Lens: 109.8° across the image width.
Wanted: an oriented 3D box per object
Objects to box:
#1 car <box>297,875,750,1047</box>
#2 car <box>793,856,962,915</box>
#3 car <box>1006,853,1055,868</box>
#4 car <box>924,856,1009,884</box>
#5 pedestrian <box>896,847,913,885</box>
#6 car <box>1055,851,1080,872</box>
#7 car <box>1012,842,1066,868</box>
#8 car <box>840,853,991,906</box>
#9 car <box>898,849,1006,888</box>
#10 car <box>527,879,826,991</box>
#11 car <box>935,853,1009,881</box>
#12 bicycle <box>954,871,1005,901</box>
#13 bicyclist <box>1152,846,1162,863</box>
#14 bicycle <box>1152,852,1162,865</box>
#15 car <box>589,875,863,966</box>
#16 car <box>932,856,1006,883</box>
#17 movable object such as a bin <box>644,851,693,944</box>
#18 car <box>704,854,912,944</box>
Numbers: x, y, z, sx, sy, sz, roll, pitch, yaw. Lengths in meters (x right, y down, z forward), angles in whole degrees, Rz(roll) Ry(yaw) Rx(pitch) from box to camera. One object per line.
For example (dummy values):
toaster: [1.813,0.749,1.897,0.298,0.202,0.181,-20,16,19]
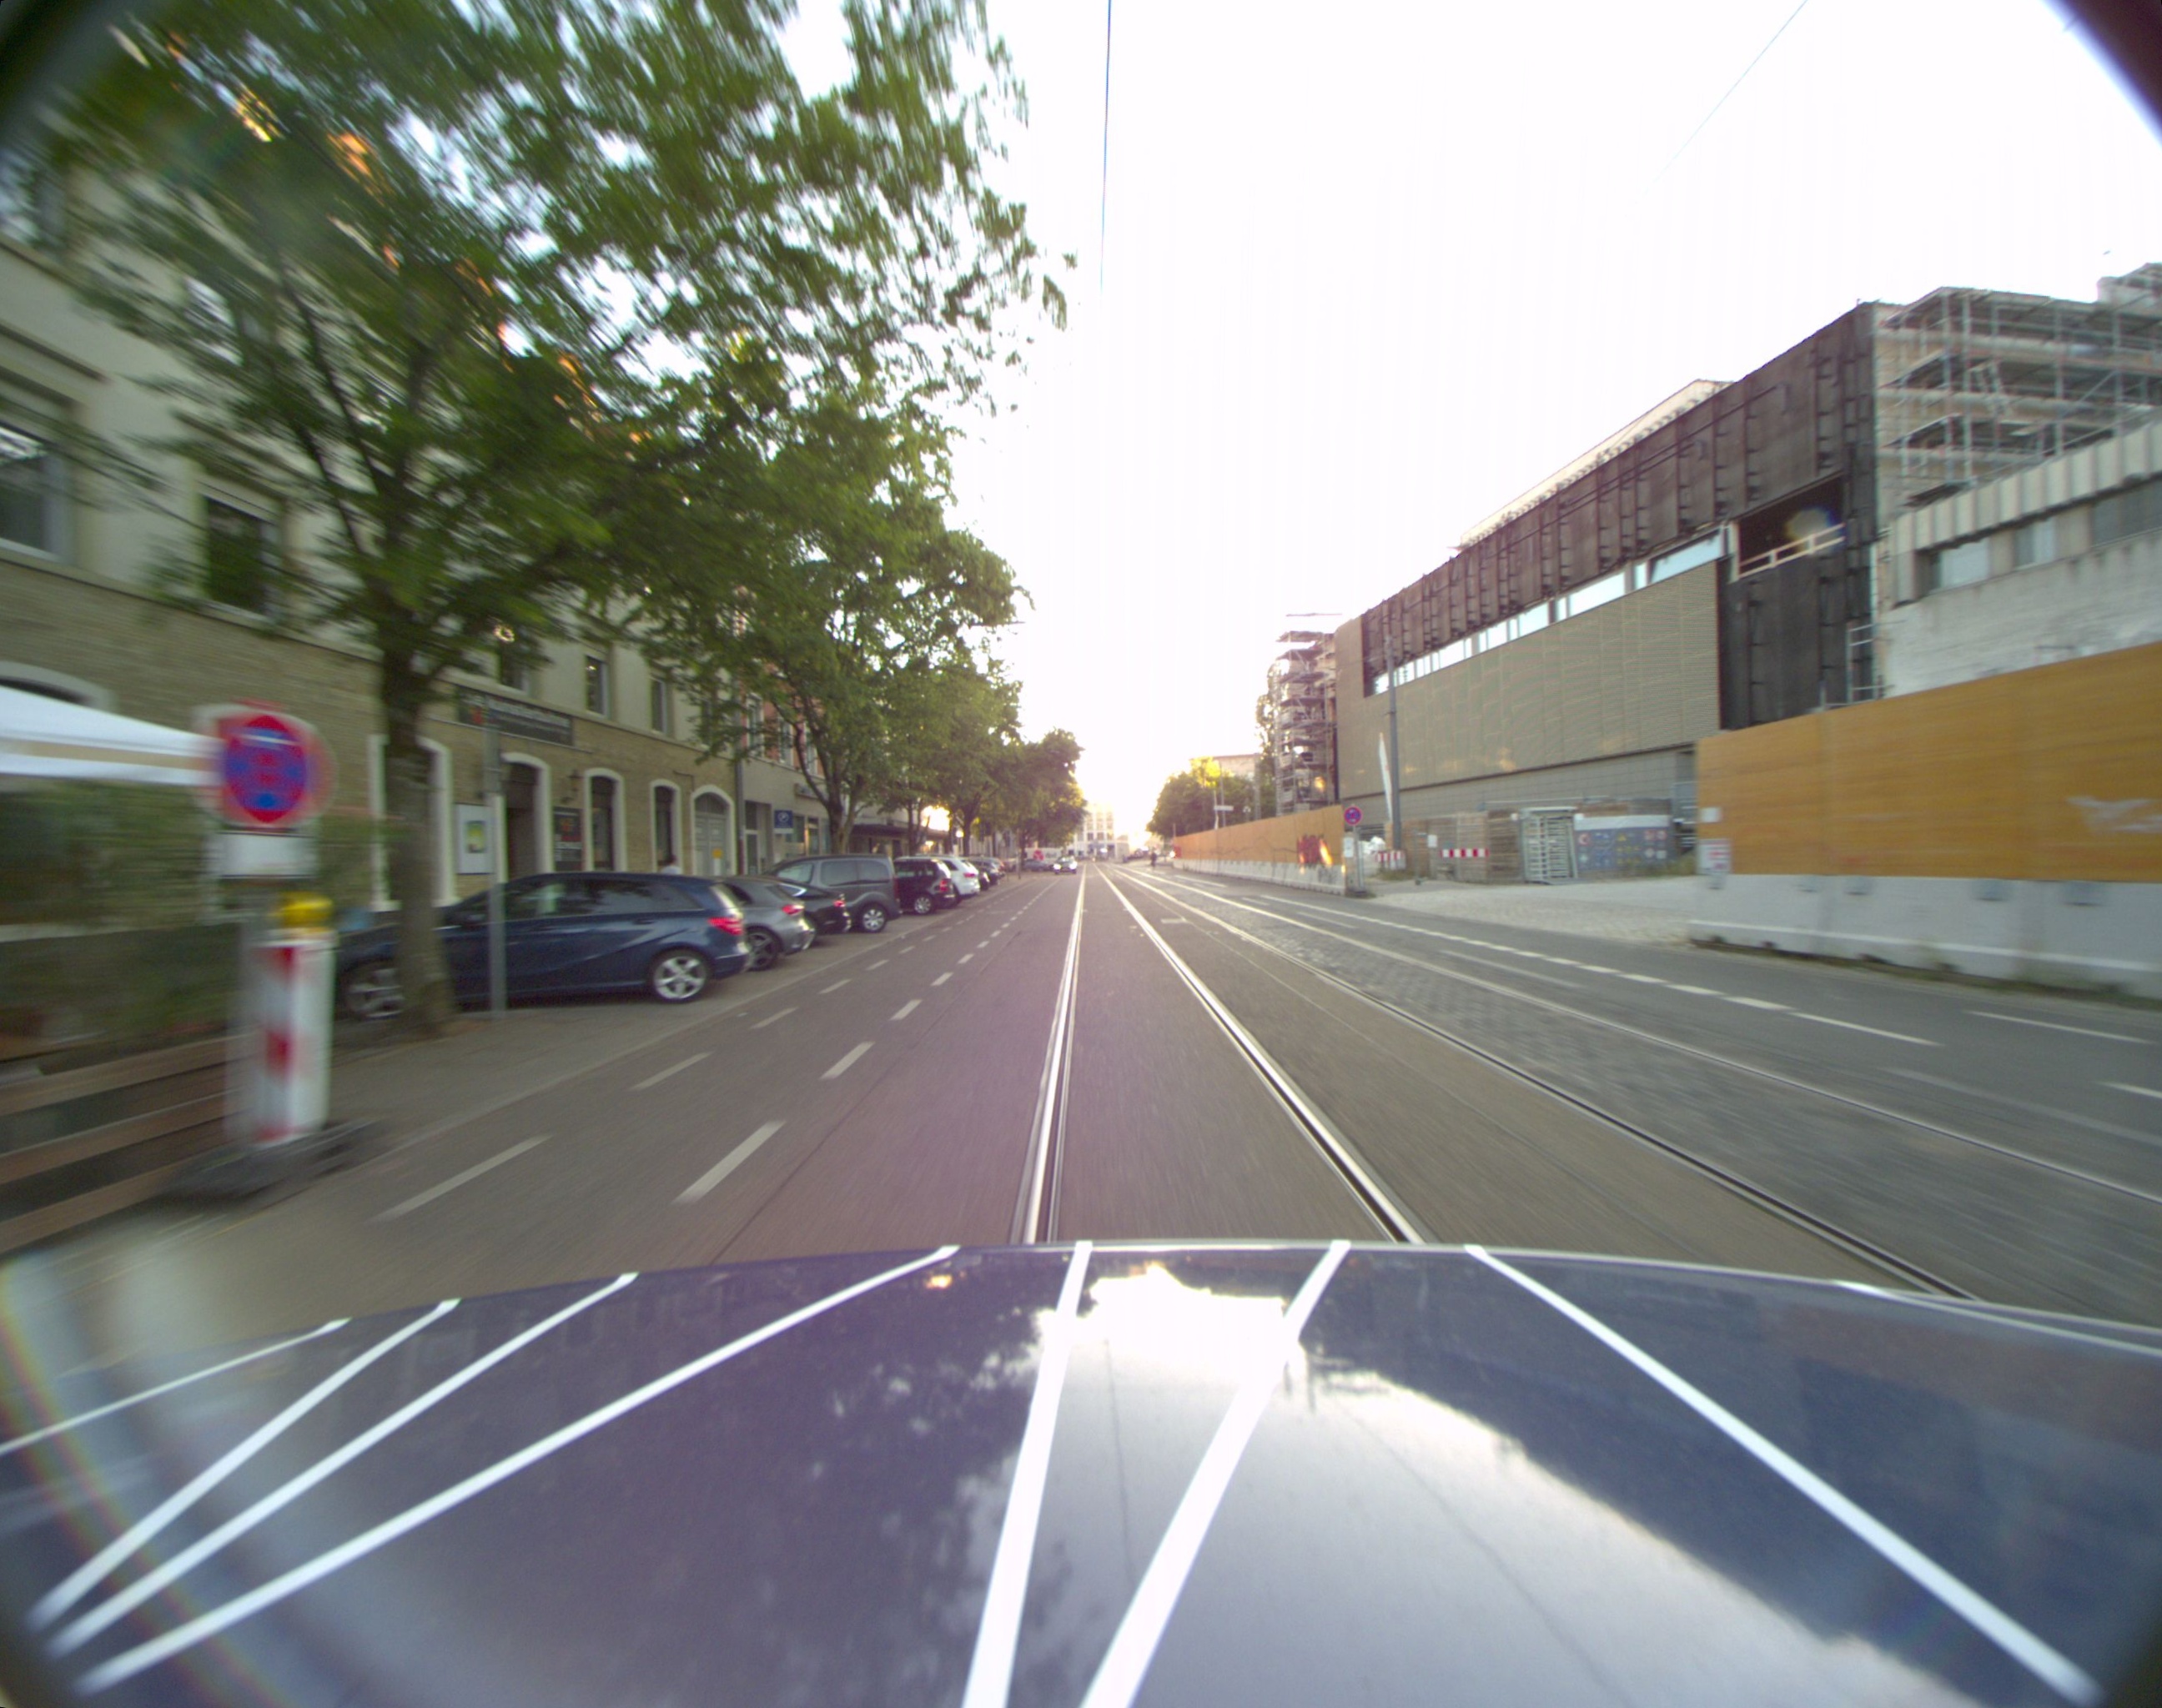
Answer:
car: [-6.069,1.077,8.910,3.979,1.544,1.702,0,1,-25]
car: [-6.053,0.923,23.131,4.662,1.678,2.007,1,0,-5]
car: [-5.174,0.720,77.605,4.614,1.504,1.859,1,-1,-26]
car: [-6.258,0.870,41.539,4.174,1.456,1.967,1,0,-27]
pedestrian: [-9.346,0.614,40.163,0.693,1.974,0.786,1,1,0]
car: [-1.126,0.623,65.358,1.840,1.631,4.169,-5,0,1]
car: [-4.613,0.120,84.050,5.650,2.678,2.166,-2,0,-34]
car: [-5.539,0.839,25.877,4.660,1.678,2.008,1,0,0]
car: [-6.354,0.701,37.309,4.984,1.816,2.204,1,0,-18]
car: [-5.930,1.130,11.643,3.788,1.399,1.703,0,0,-20]
car: [-6.797,0.801,47.463,4.176,1.654,1.837,1,0,-34]
bicycle: [-3.775,1.184,28.250,1.842,1.096,0.497,1,0,-13]
bicyclist: [7.573,0.077,75.764,0.770,1.656,1.018,-2,1,0]
bicycle: [7.583,0.440,75.717,0.770,1.221,1.936,-2,0,0]
car: [-6.452,1.123,14.045,4.331,1.381,1.802,1,0,-30]
car: [-6.538,0.885,44.509,3.901,1.493,1.809,1,0,-30]
movable object such as a bin: [-9.155,0.951,16.877,0.614,2.002,0.695,-2,1,-1]
car: [-6.126,0.903,17.092,4.167,1.796,2.003,0,1,-28]
